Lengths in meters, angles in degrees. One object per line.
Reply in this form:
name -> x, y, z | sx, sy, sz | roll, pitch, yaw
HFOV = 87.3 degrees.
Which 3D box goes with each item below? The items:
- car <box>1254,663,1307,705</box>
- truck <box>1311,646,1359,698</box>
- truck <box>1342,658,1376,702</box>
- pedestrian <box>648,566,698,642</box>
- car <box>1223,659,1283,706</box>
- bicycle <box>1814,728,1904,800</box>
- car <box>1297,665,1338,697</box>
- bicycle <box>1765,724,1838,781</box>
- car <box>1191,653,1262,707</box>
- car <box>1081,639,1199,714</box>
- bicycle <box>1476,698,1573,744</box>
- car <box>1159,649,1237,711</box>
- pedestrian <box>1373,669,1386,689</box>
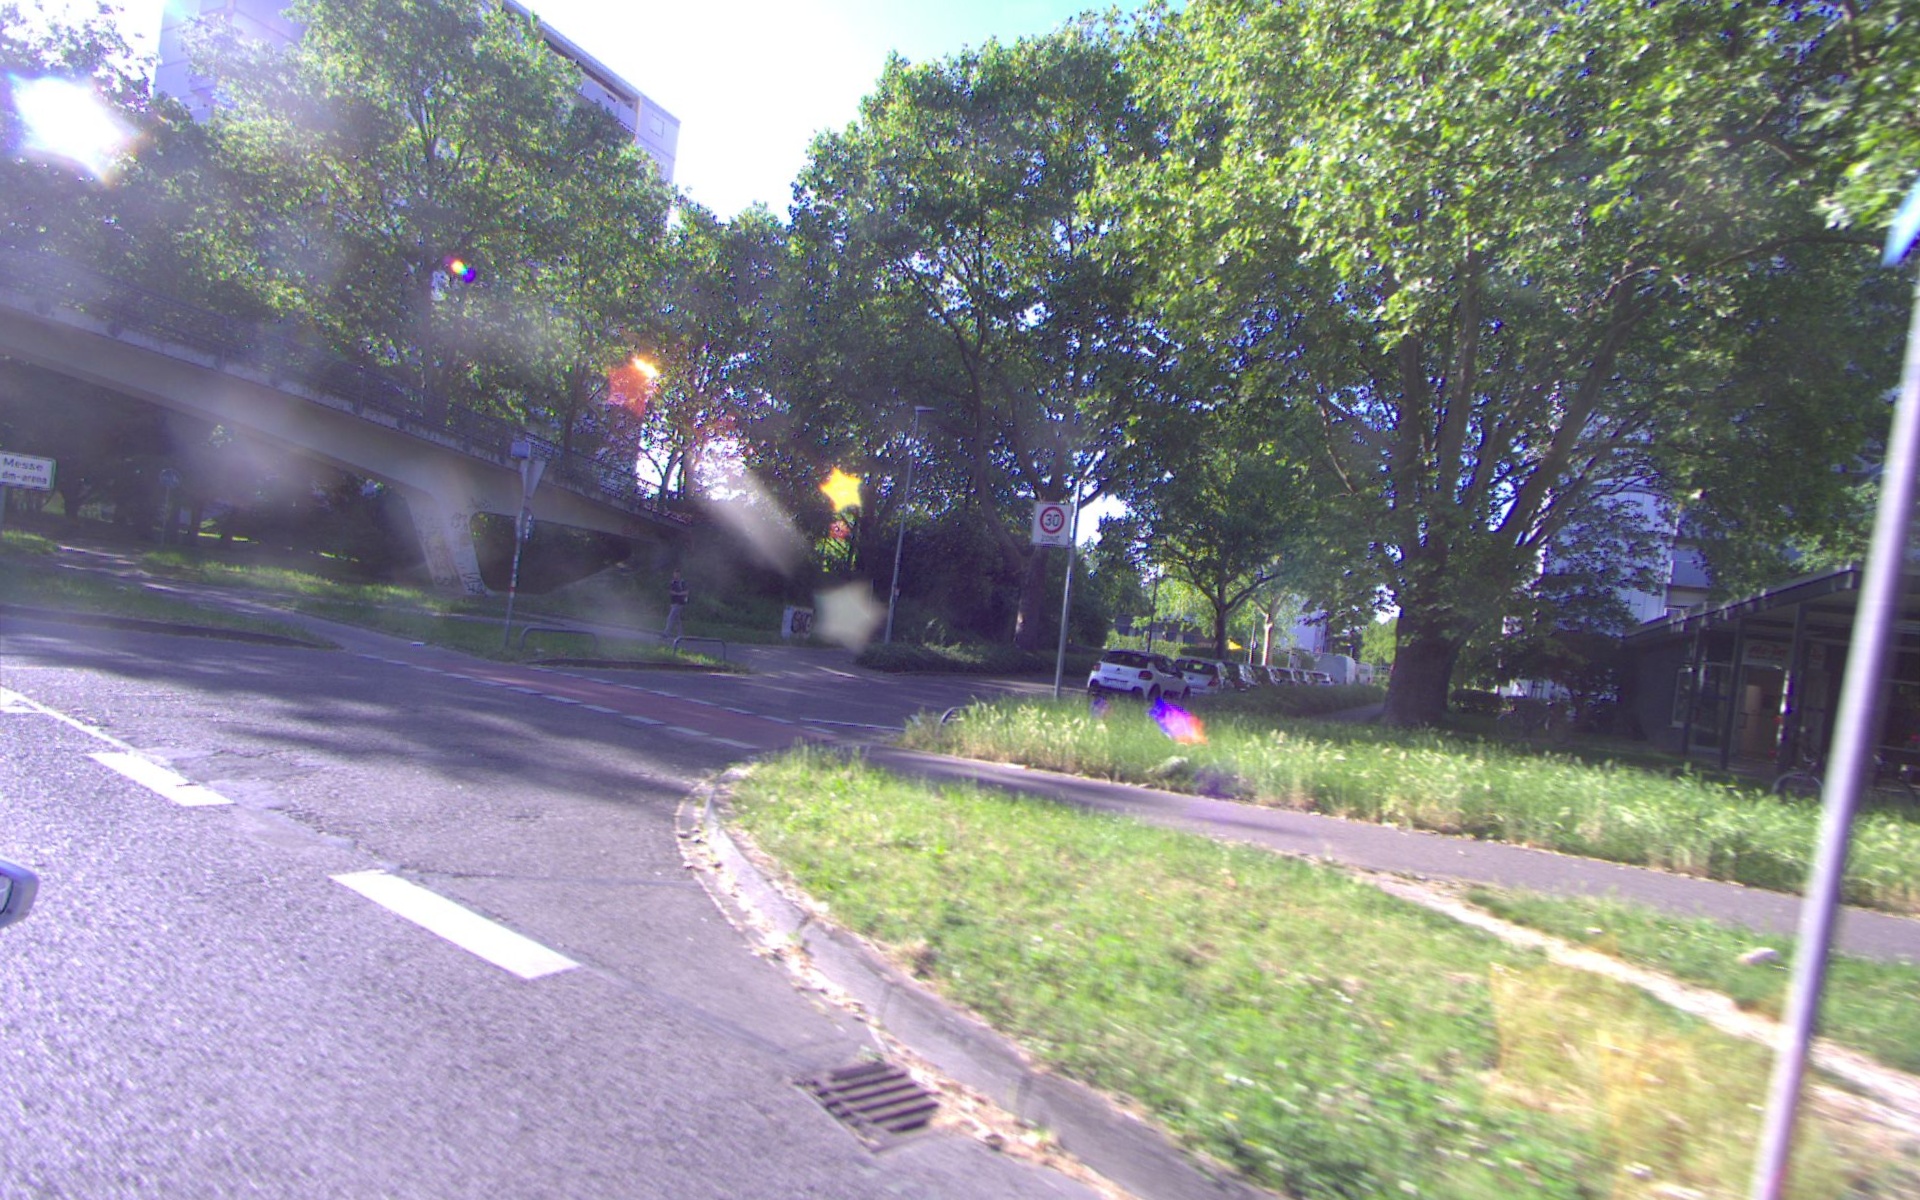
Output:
car -> 14.184, 3.733, 44.407 | 1.556, 1.513, 3.590 | 9, -1, 26
truck -> 23.820, 4.601, 63.764 | 1.881, 2.851, 5.183 | 9, -1, 27
truck -> 30.494, 6.110, 76.869 | 1.880, 3.013, 5.187 | 9, -1, 22
pedestrian -> -7.251, 0.115, 25.427 | 0.726, 1.799, 0.660 | 8, 1, 23
car -> 11.601, 3.271, 39.676 | 1.598, 1.513, 3.590 | 9, -1, 25
bicycle -> 17.179, 3.102, 19.275 | 0.698, 1.129, 1.805 | 5, -1, 25
car -> 20.715, 4.723, 58.180 | 1.639, 1.513, 3.589 | 9, -1, 27
bicycle -> 18.673, 3.369, 22.357 | 0.698, 0.967, 1.804 | 7, 1, 25
car -> 9.269, 2.788, 34.799 | 1.594, 1.513, 3.591 | 9, -1, 24
car -> 4.691, 2.001, 25.797 | 1.680, 1.513, 3.738 | 9, -1, 29
bicycle -> 14.878, 3.178, 26.560 | 2.158, 0.972, 0.505 | 3, -1, 26
car -> 7.376, 2.455, 30.923 | 1.637, 1.513, 3.987 | 9, -1, 21
pedestrian -> 46.330, 8.756, 111.094 | 0.928, 2.038, 1.018 | 7, 0, 28
